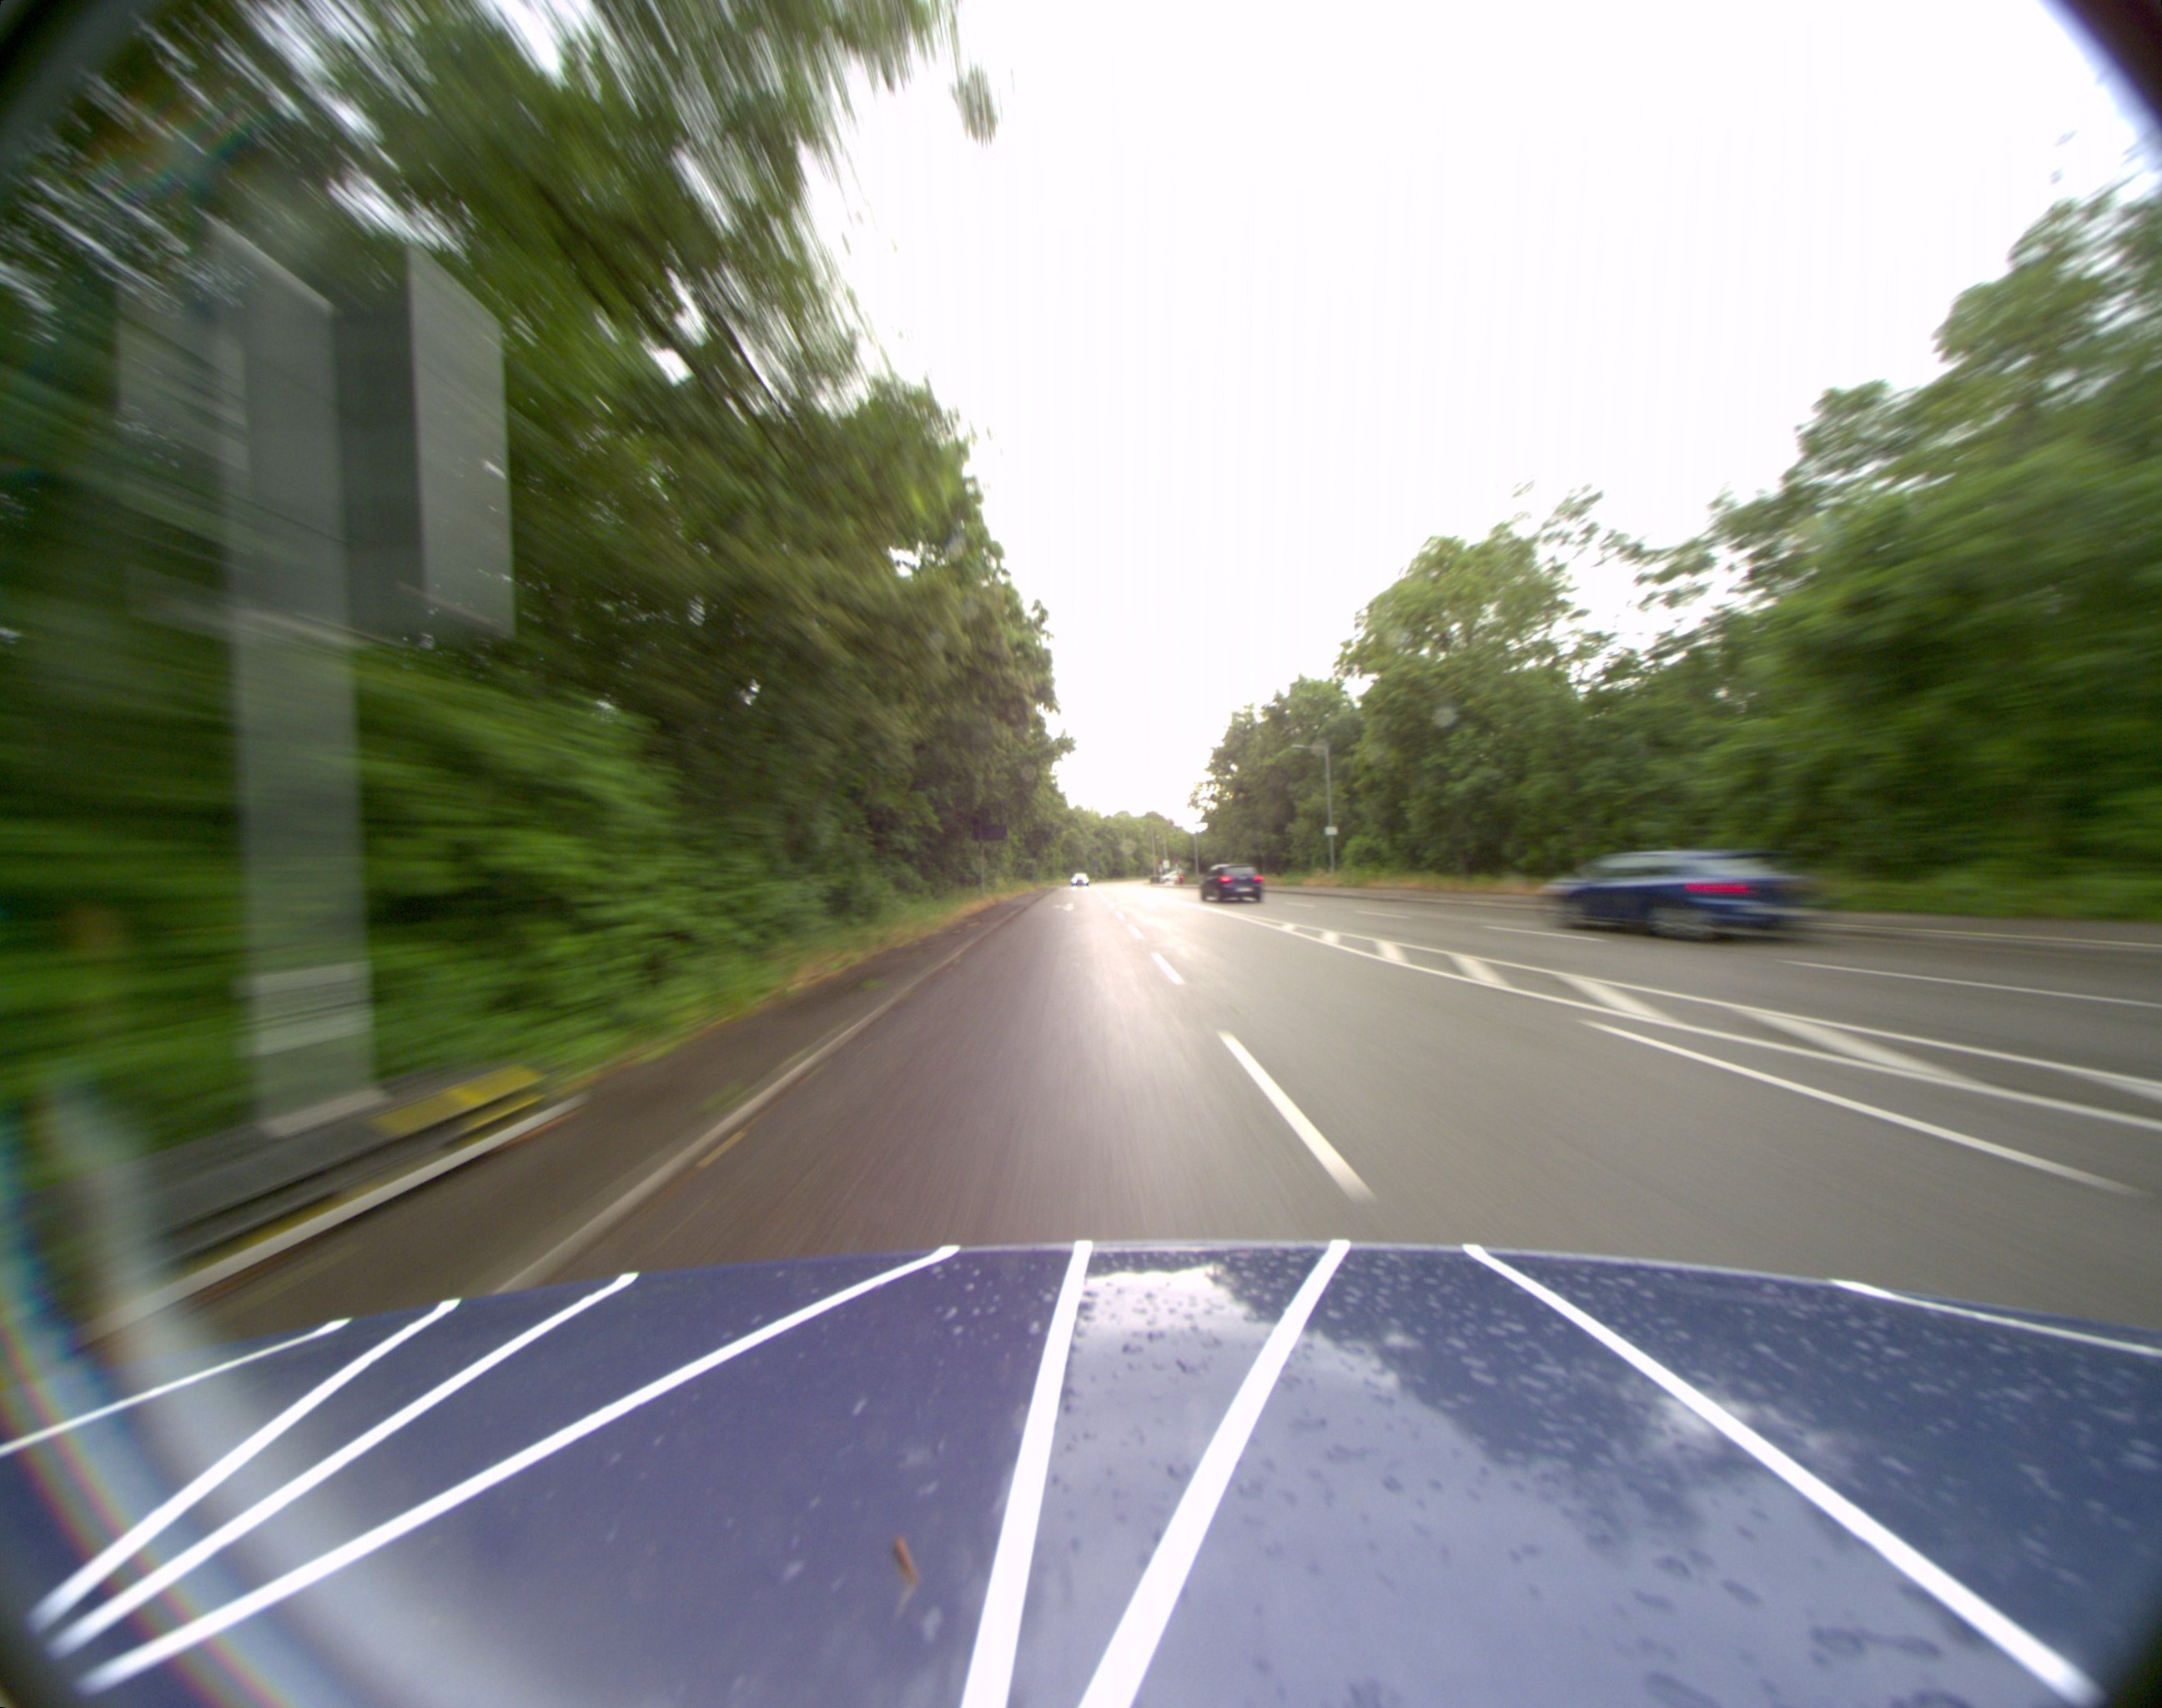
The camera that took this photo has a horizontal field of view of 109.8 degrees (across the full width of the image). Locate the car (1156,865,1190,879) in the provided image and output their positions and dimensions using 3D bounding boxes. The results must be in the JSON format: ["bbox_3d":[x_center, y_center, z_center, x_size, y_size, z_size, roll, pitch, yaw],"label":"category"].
[{"bbox_3d":[13.333,2.622,110.075,4.752,1.706,1.895,-2,0,5],"label":"car"}]

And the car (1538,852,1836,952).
[{"bbox_3d":[9.904,0.703,12.890,1.636,1.386,3.999,-2,0,-5],"label":"car"}]

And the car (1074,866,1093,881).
[{"bbox_3d":[0.232,2.058,81.269,1.998,1.576,4.000,-1,-1,0],"label":"car"}]

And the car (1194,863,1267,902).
[{"bbox_3d":[5.840,1.084,30.135,1.706,1.419,4.077,-1,-1,-6],"label":"car"}]

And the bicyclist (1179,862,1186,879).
[{"bbox_3d":[9.911,1.618,74.401,0.580,1.576,0.700,-1,0,1],"label":"bicyclist"}]

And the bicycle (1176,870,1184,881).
[{"bbox_3d":[9.684,2.100,74.368,0.453,0.998,2.018,-3,-1,1],"label":"bicycle"}]
